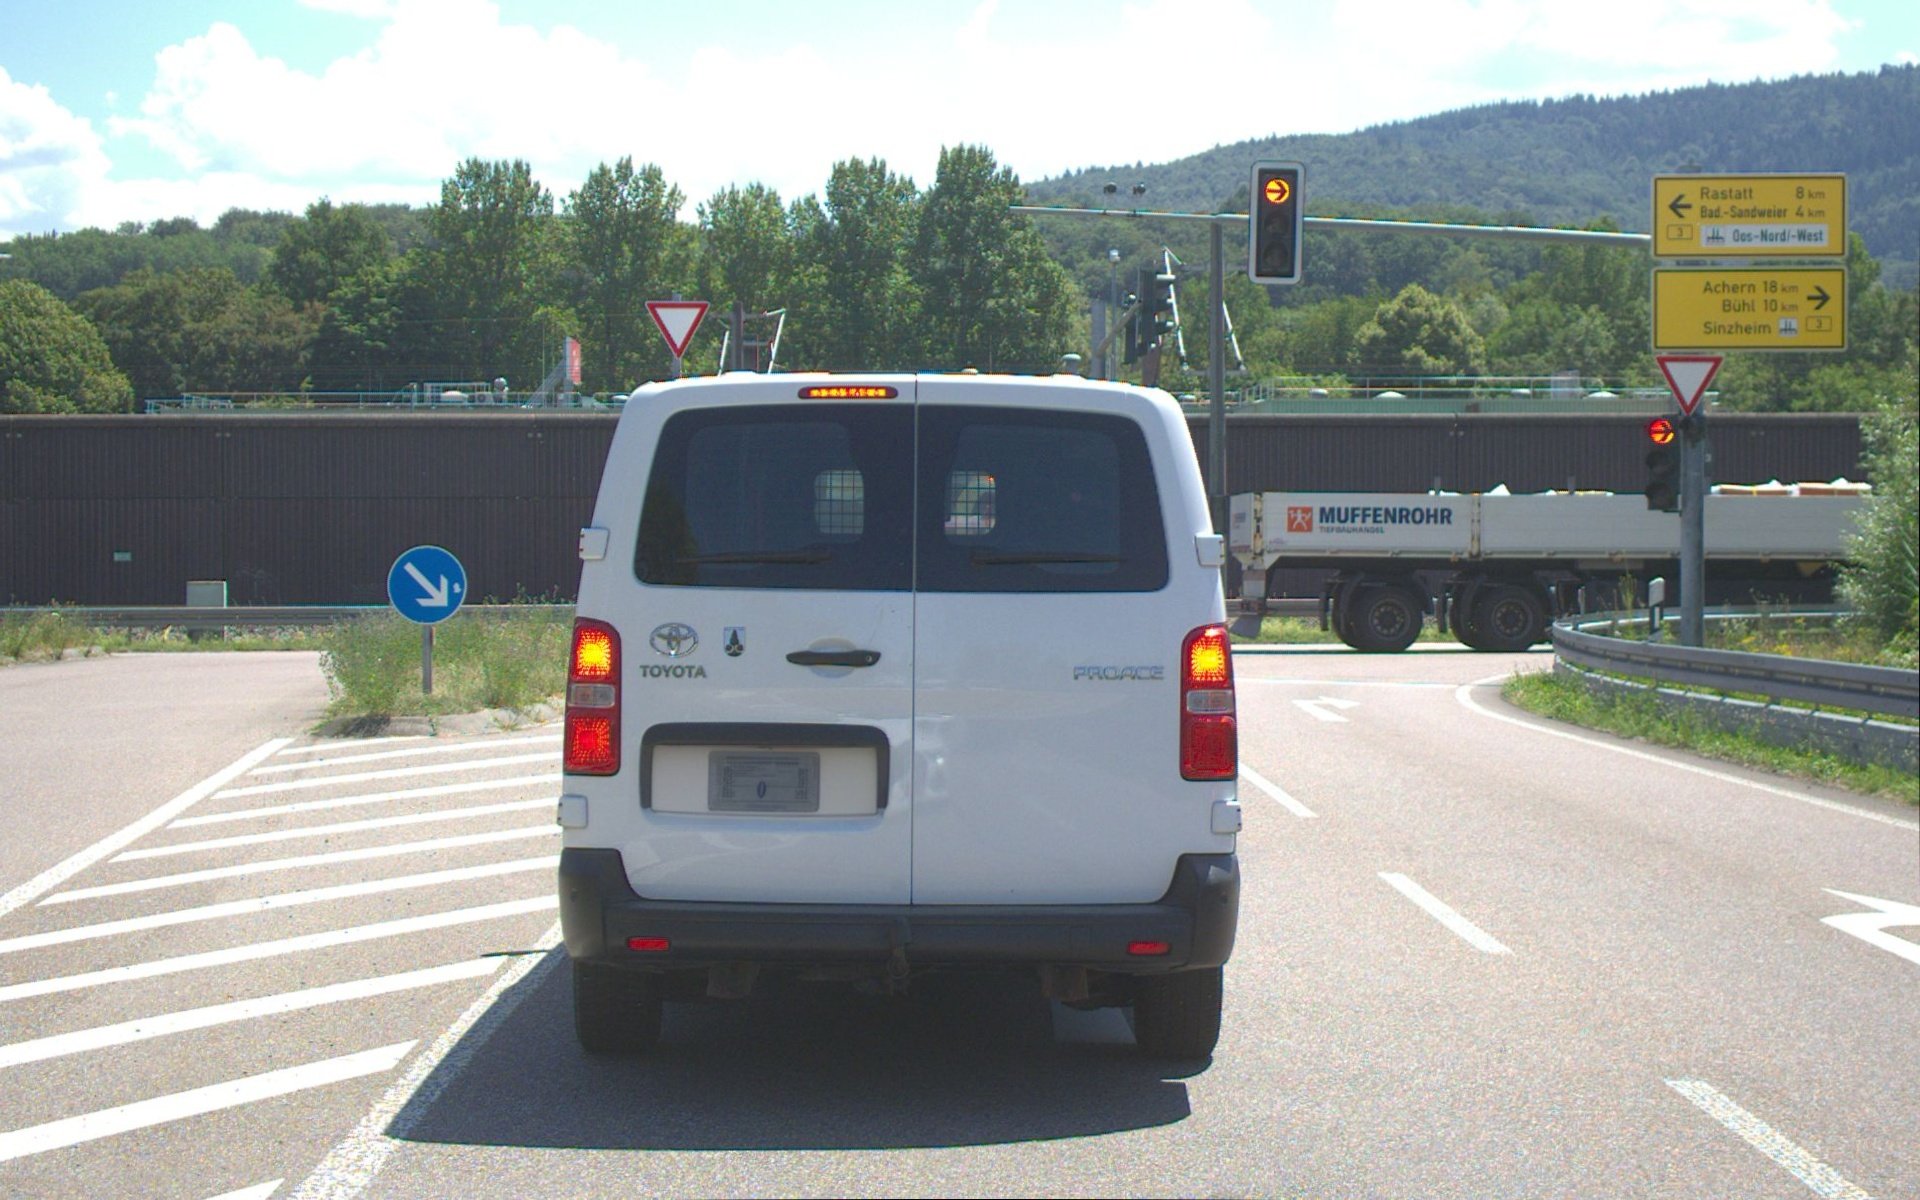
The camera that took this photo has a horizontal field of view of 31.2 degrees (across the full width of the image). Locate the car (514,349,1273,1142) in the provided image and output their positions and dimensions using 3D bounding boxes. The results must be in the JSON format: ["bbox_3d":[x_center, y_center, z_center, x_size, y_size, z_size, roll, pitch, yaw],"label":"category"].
[{"bbox_3d":[-0.195,0.337,10.573,1.870,1.958,4.000,1,1,-1],"label":"car"}]

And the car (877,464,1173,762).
[{"bbox_3d":[0.432,0.065,25.737,1.993,2.006,4.000,-1,1,0],"label":"car"}]

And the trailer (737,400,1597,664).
[{"bbox_3d":[2.955,-1.025,50.449,12.319,3.492,2.233,-1,2,-3],"label":"trailer"}]

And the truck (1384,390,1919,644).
[{"bbox_3d":[10.159,-1.250,50.784,7.404,3.492,2.233,-1,2,-3],"label":"truck"}]
